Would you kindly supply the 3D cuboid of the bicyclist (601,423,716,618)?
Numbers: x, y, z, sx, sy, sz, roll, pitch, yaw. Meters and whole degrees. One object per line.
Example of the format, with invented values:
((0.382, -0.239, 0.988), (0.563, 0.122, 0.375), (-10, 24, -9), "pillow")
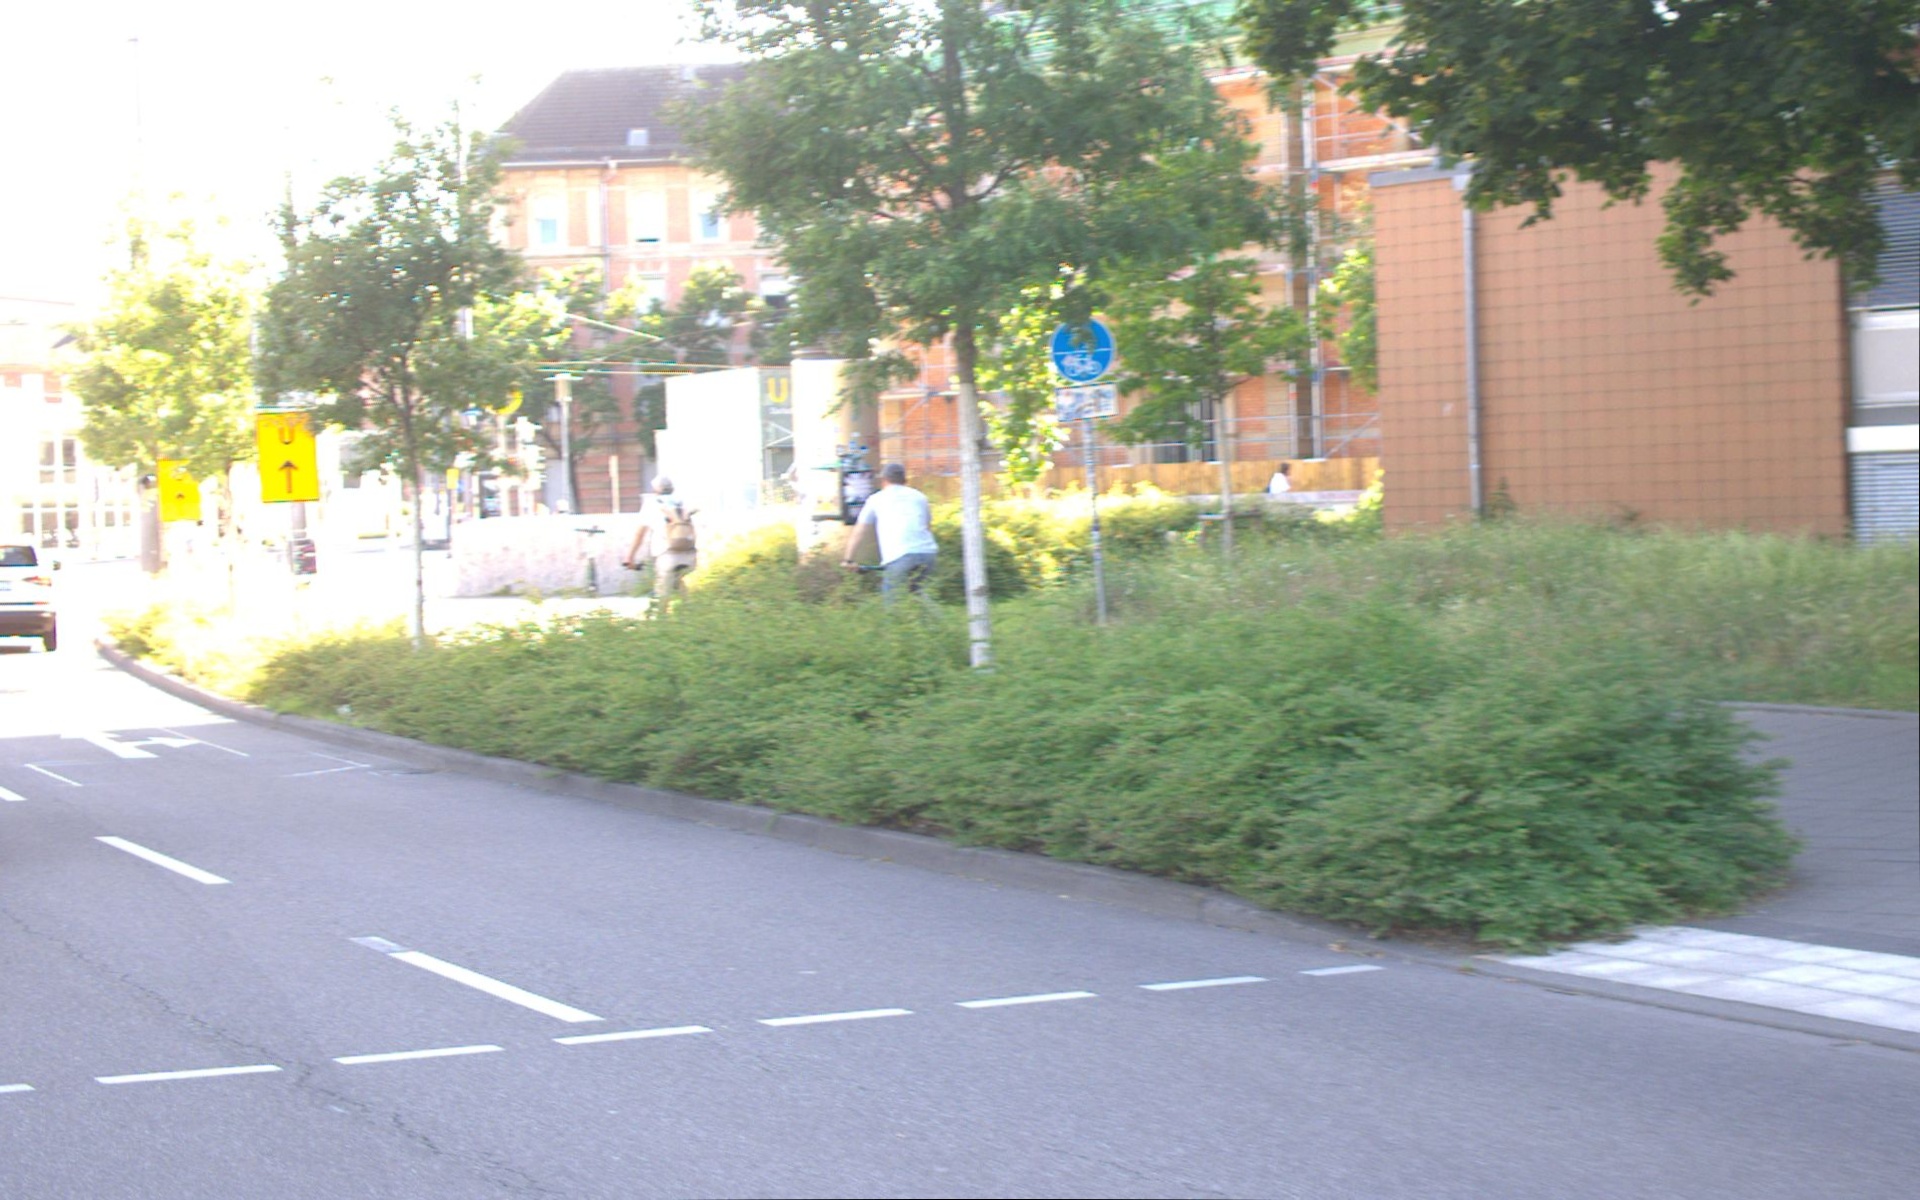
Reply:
((-2.792, -0.737, 31.766), (0.719, 1.756, 0.978), (-3, 2, -24), "bicyclist")

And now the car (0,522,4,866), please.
((-6.021, 0.456, 17.581), (1.876, 1.612, 3.798), (-1, 0, -20), "car")

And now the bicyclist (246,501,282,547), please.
((-22.375, -2.429, 110.499), (0.962, 1.444, 0.969), (-2, 2, -21), "bicyclist")

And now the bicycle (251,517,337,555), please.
((-22.380, -2.145, 115.549), (2.646, 1.184, 0.947), (-2, 4, -33), "bicycle")

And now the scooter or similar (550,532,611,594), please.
((-6.584, -0.647, 59.618), (0.467, 1.009, 1.249), (-3, 4, -37), "scooter or similar")

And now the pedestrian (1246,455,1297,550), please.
((5.814, -1.832, 64.193), (0.788, 1.746, 0.537), (2, 4, 33), "pedestrian")

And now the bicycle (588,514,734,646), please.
((-2.781, -0.201, 31.796), (0.746, 1.161, 1.871), (-3, 2, -24), "bicycle")

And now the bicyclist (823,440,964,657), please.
((-0.512, -0.403, 26.286), (0.719, 1.611, 0.978), (-2, 2, -23), "bicyclist")

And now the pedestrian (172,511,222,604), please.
((-14.378, -0.788, 64.775), (0.594, 1.717, 0.870), (-2, -1, 10), "pedestrian")

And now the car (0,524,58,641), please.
((-13.905, -0.263, 49.131), (1.876, 1.612, 3.626), (0, 1, -14), "car")

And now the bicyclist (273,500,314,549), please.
((-22.396, -2.536, 115.513), (1.063, 1.578, 0.947), (-2, 4, -33), "bicyclist")

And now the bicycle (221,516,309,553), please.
((-22.340, -2.107, 110.523), (2.642, 1.091, 0.969), (-2, 2, -21), "bicycle")

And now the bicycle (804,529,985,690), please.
((-0.523, 0.050, 26.350), (0.716, 1.161, 1.871), (-2, 2, -23), "bicycle")
